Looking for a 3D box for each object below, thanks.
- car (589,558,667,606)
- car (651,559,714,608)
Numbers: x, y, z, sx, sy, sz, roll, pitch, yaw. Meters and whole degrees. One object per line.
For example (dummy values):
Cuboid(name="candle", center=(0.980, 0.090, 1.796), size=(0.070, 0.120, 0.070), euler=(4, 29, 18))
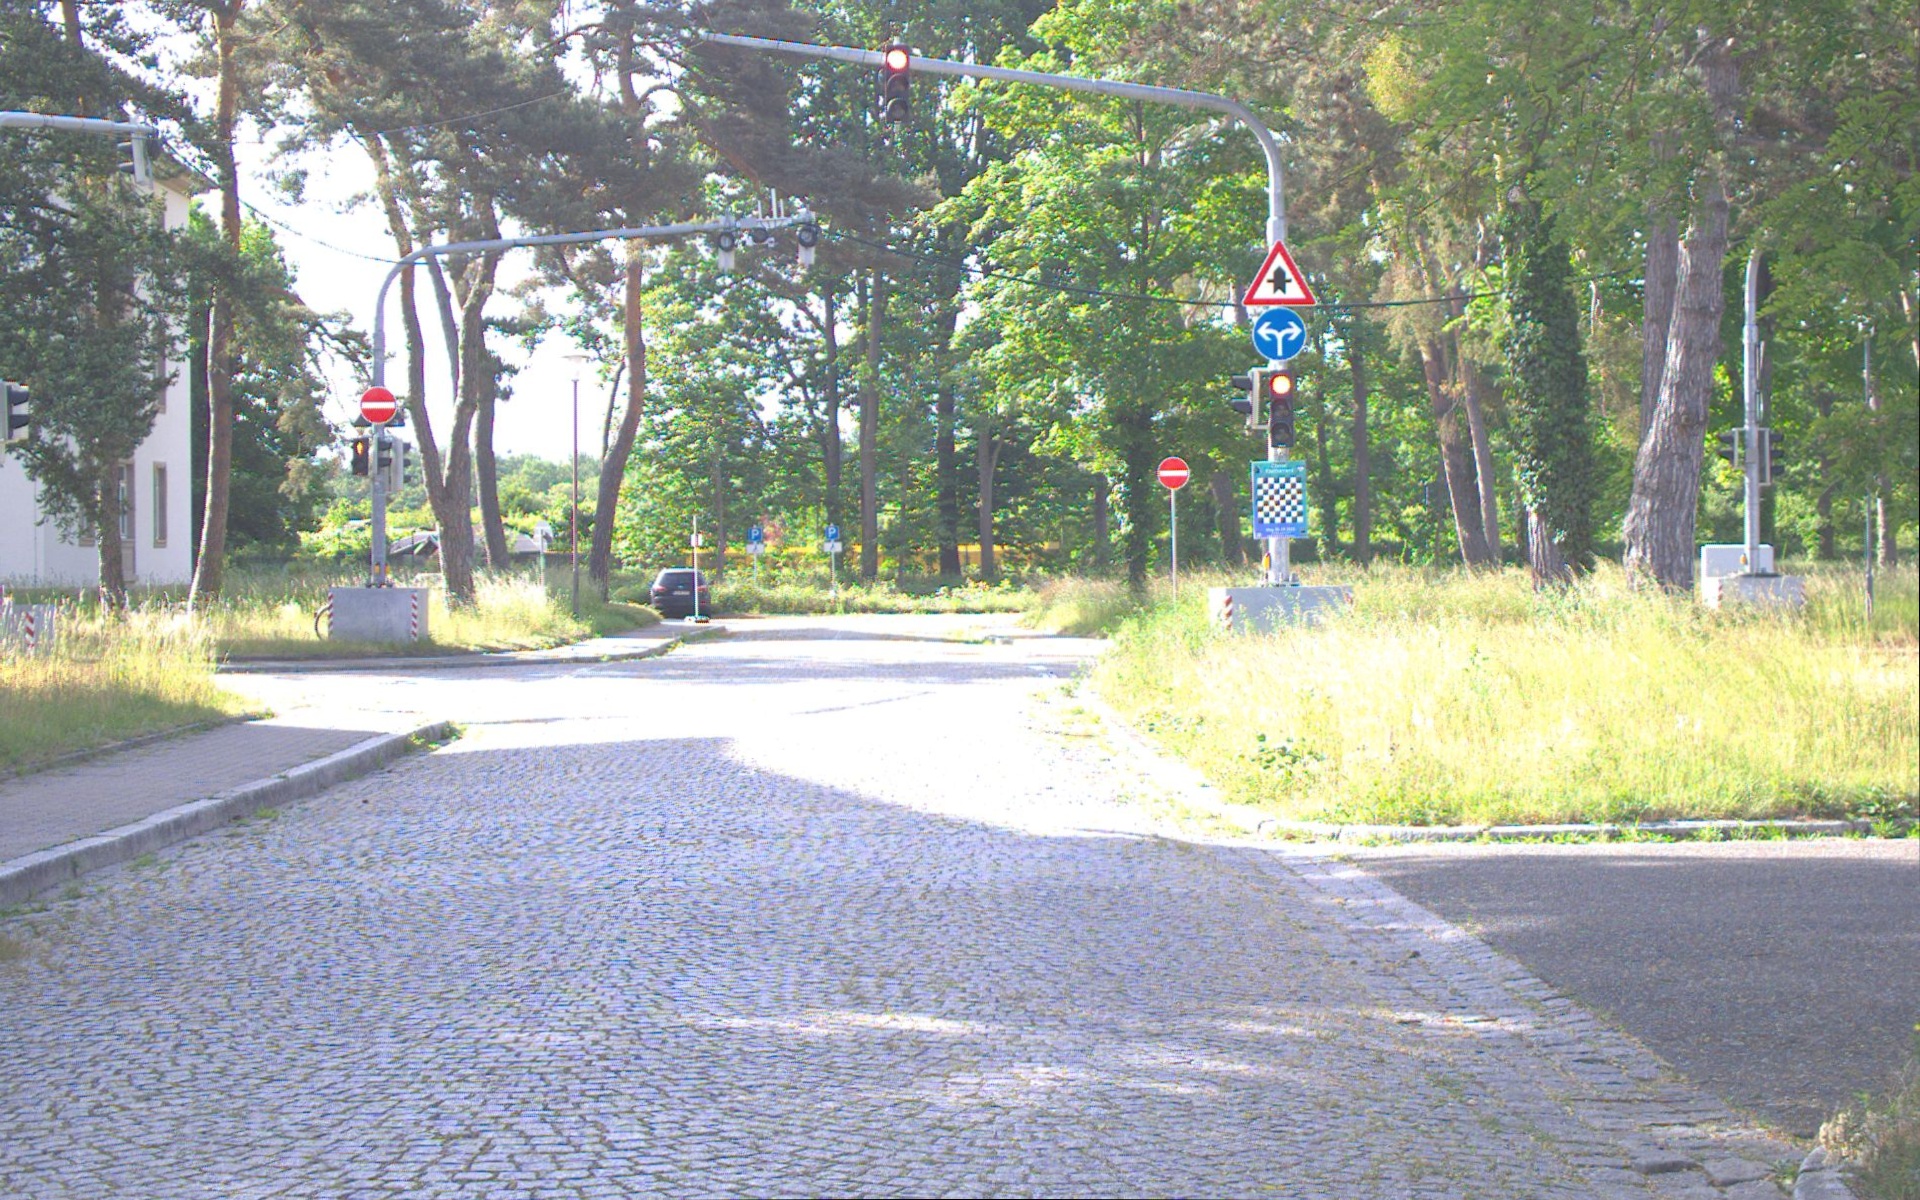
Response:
Cuboid(name="car", center=(-10.655, -0.586, 110.682), size=(1.783, 1.485, 3.754), euler=(0, 1, 6))
Cuboid(name="car", center=(-8.524, -0.518, 105.953), size=(1.844, 1.481, 4.001), euler=(0, 1, -4))
